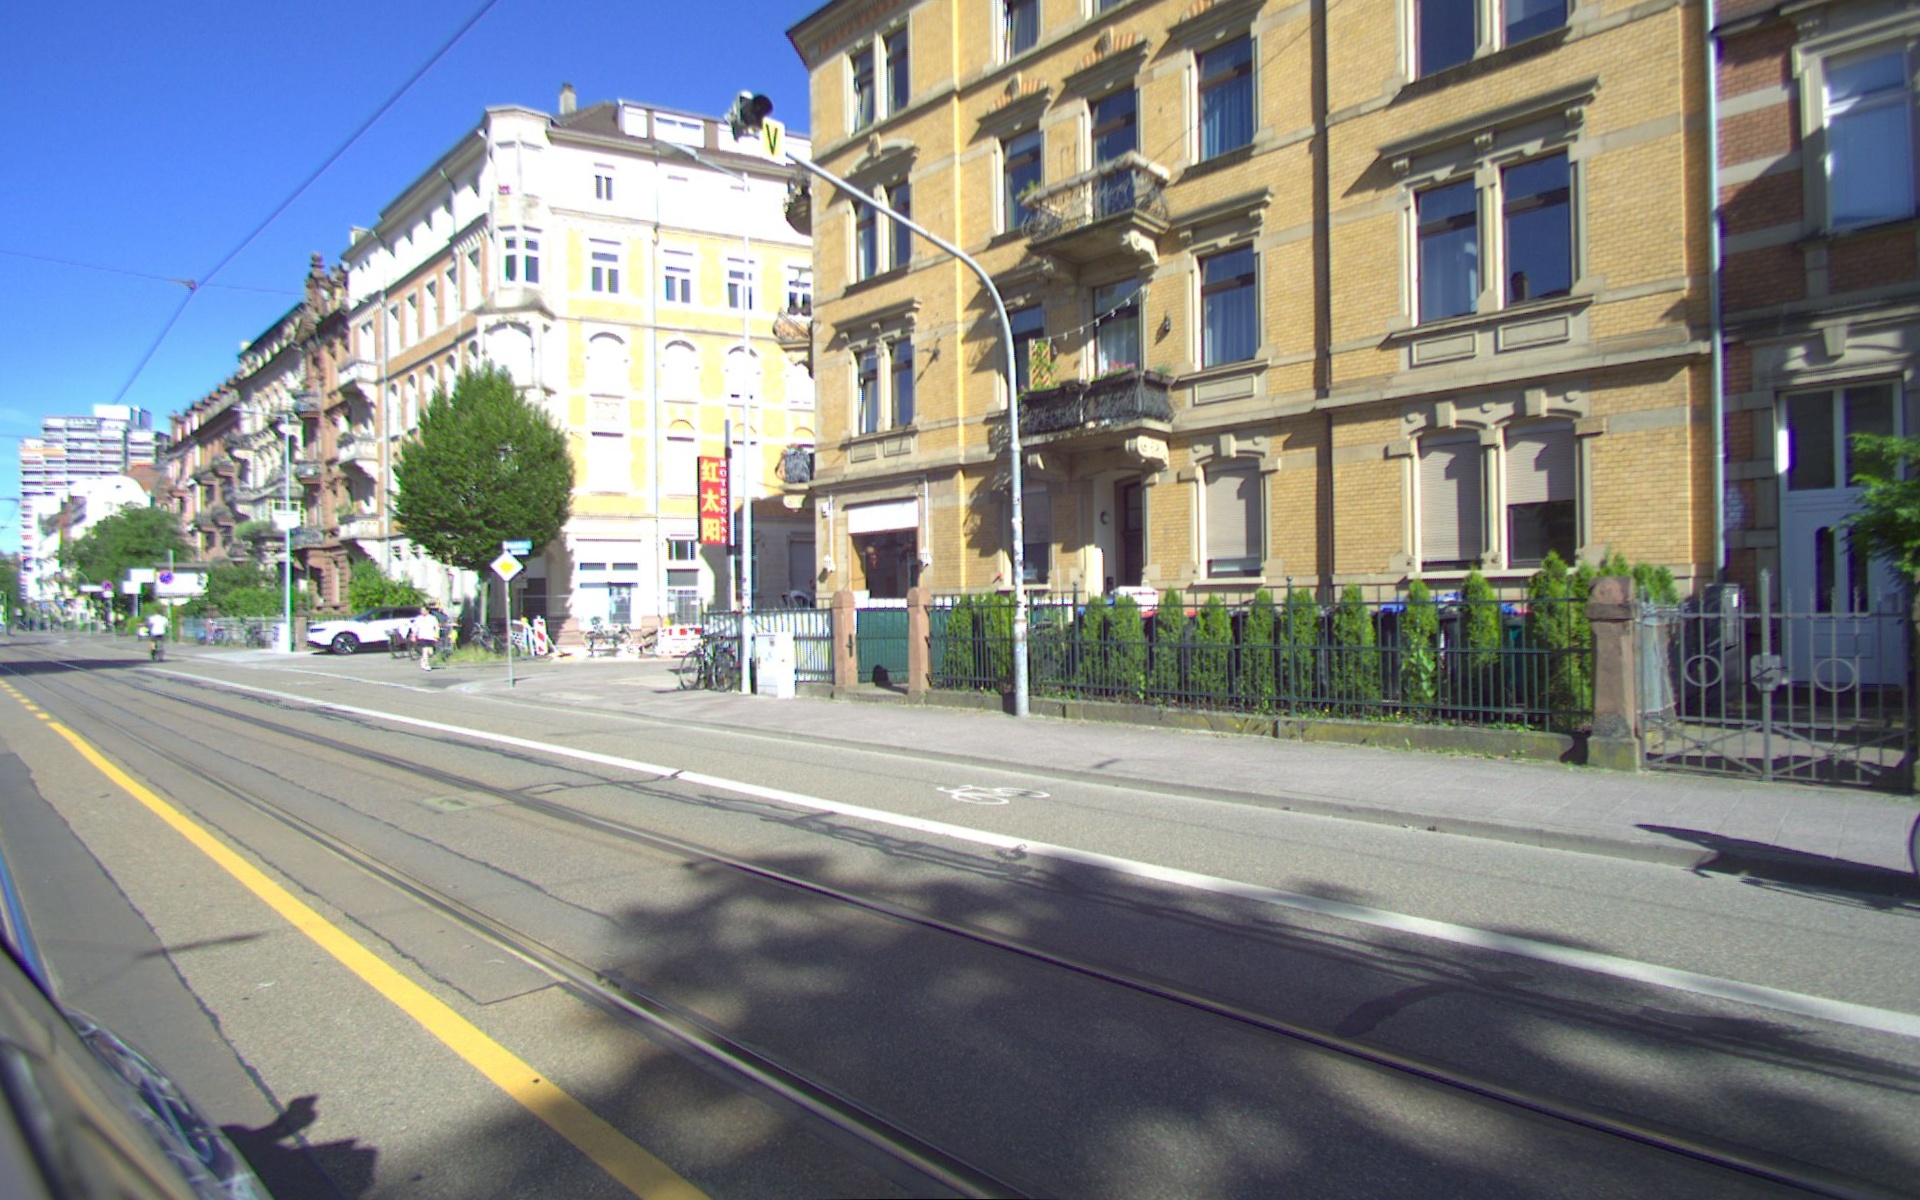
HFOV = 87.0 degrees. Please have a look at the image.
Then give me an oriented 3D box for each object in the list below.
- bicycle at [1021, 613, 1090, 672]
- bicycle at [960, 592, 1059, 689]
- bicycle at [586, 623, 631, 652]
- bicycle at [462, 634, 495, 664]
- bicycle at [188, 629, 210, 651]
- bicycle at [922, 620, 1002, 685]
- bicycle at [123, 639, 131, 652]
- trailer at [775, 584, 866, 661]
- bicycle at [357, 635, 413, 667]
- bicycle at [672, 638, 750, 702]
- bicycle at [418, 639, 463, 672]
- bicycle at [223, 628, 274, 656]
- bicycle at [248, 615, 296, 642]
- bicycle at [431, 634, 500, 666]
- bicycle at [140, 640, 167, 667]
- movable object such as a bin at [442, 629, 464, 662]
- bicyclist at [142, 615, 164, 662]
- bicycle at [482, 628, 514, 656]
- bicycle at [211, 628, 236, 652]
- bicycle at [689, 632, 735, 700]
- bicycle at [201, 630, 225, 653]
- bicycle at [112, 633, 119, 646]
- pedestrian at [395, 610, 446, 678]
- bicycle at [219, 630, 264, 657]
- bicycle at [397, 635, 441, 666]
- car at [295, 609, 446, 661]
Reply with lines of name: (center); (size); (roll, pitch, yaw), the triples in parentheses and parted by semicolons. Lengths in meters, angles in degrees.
bicycle: (1.745, 0.750, 18.409); (0.389, 0.982, 1.519); (-2, 0, 42)
bicycle: (0.760, 0.565, 14.955); (0.612, 1.330, 1.747); (-2, 0, 34)
bicycle: (-13.573, 1.430, 39.066); (1.576, 1.045, 0.407); (-2, -2, -21)
bicycle: (-15.946, 1.608, 33.536); (0.611, 0.921, 1.297); (0, 0, -8)
bicycle: (-37.201, 1.957, 49.482); (1.768, 1.041, 0.557); (-3, -1, 44)
bicycle: (0.054, 0.848, 16.743); (0.389, 0.982, 1.519); (-2, 0, 42)
bicycle: (-59.648, 3.244, 72.461); (0.337, 0.933, 1.945); (-2, 0, -42)
trailer: (-5.111, 0.832, 36.977); (2.878, 2.716, 1.834); (1, -1, -23)
bicycle: (-18.574, 1.637, 32.721); (0.614, 0.921, 1.784); (0, 0, 8)
bicycle: (-4.279, 1.173, 17.307); (1.870, 1.008, 0.331); (-2, 0, 44)
bicycle: (-15.784, 1.682, 30.771); (0.614, 0.921, 1.291); (0, 0, 8)
bicycle: (-29.067, 1.706, 41.357); (1.746, 1.041, 0.563); (-3, -1, 8)
bicycle: (-33.120, 1.369, 48.730); (0.565, 1.163, 1.743); (-2, 2, 43)
bicycle: (-15.682, 1.588, 32.097); (1.965, 0.983, 0.579); (-1, 0, 9)
bicycle: (-28.211, 1.859, 35.393); (2.203, 0.933, 0.455); (-2, -3, 44)
movable object such as a bin: (-17.424, 1.563, 34.801); (0.568, 1.079, 0.718); (-2, 0, -33)
bicyclist: (-28.240, 1.356, 35.428); (0.744, 1.631, 0.459); (-2, -3, 44)
bicycle: (-16.275, 1.466, 35.701); (0.244, 0.921, 1.539); (0, 0, 8)
bicycle: (-33.052, 1.782, 45.388); (1.767, 1.041, 0.557); (-2, 0, 43)
bicycle: (-4.293, 1.131, 17.481); (0.809, 1.134, 0.366); (-2, 0, 44)
bicycle: (-34.490, 1.907, 46.714); (1.767, 1.041, 0.557); (-2, 0, 43)
bicycle: (-65.361, 3.045, 78.323); (0.337, 0.933, 1.945); (-2, 0, -42)
pedestrian: (-14.286, 1.141, 26.800); (1.082, 1.736, 0.821); (-1, 1, 41)
bicycle: (-30.308, 1.844, 42.697); (1.754, 1.041, 0.561); (-3, 2, 20)
bicycle: (-17.453, 1.613, 32.681); (0.614, 0.921, 1.291); (0, 0, 8)
car: (-21.426, 1.225, 36.857); (4.394, 1.656, 1.968); (-2, 1, -44)
